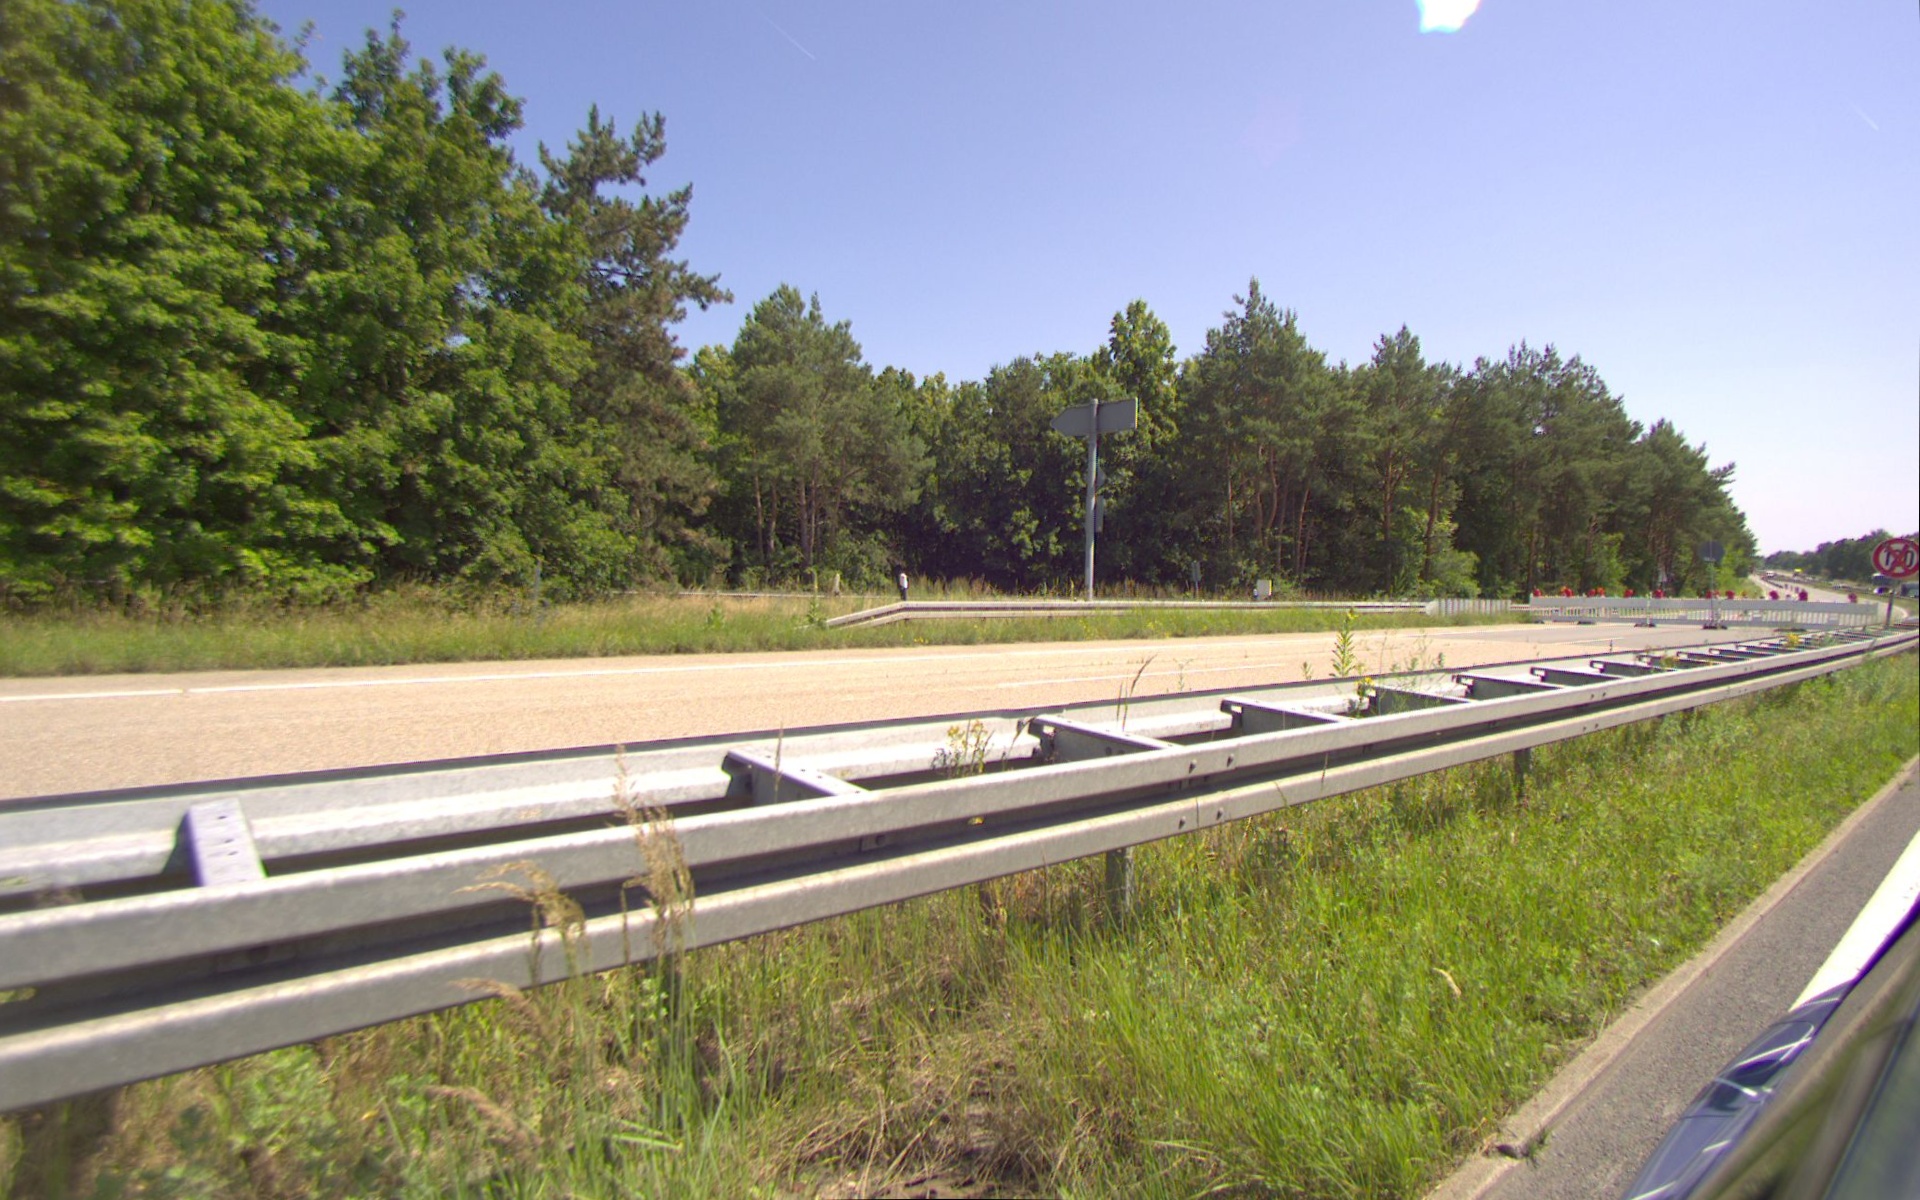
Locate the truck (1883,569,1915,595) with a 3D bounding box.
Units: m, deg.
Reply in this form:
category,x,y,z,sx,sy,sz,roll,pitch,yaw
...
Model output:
category,x,y,z,sx,sy,sz,roll,pitch,yaw
truck,160.690,-3.099,173.166,3.819,4.343,11.071,2,1,43
